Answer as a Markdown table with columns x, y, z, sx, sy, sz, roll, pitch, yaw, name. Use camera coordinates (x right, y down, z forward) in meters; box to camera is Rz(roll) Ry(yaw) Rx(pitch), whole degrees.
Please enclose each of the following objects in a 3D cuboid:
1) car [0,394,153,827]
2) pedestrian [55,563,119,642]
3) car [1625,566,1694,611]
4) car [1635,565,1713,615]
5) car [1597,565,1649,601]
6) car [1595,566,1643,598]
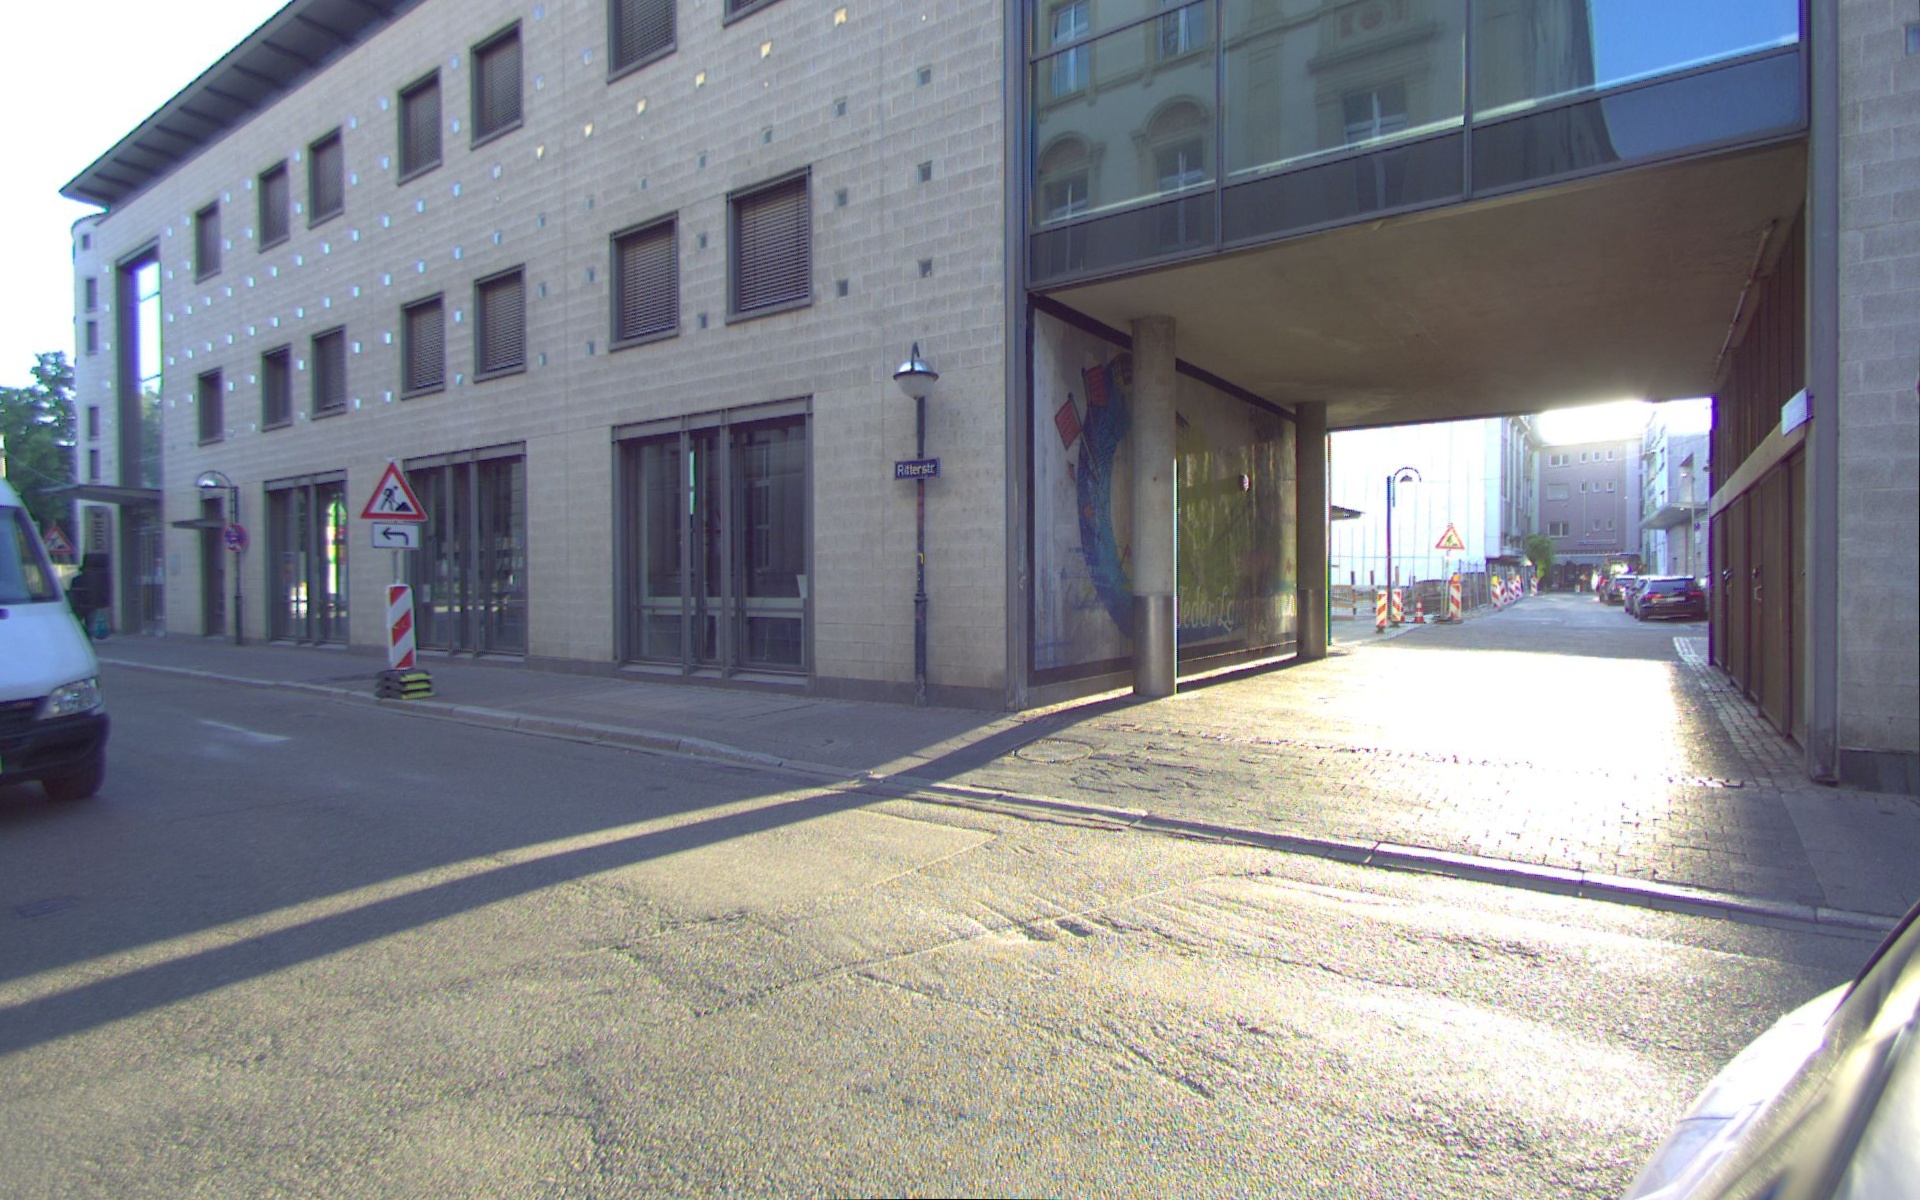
| x | y | z | sx | sy | sz | roll | pitch | yaw | name |
| --- | --- | --- | --- | --- | --- | --- | --- | --- | --- |
| -8.473 | 0.041 | 7.461 | 6.423 | 2.542 | 1.980 | 1 | 4 | 34 | car |
| -19.752 | 0.045 | 22.902 | 0.863 | 1.723 | 0.914 | 0 | 1 | 36 | pedestrian |
| 24.840 | -0.418 | 36.052 | 1.587 | 1.512 | 3.412 | 0 | 1 | 27 | car |
| 23.121 | -0.340 | 32.877 | 1.587 | 1.512 | 3.412 | 0 | 1 | 27 | car |
| 29.450 | -0.758 | 45.019 | 1.587 | 1.512 | 3.412 | 0 | 1 | 27 | car |
| 31.912 | -0.887 | 49.065 | 1.587 | 1.512 | 3.412 | 0 | 1 | 27 | car |
